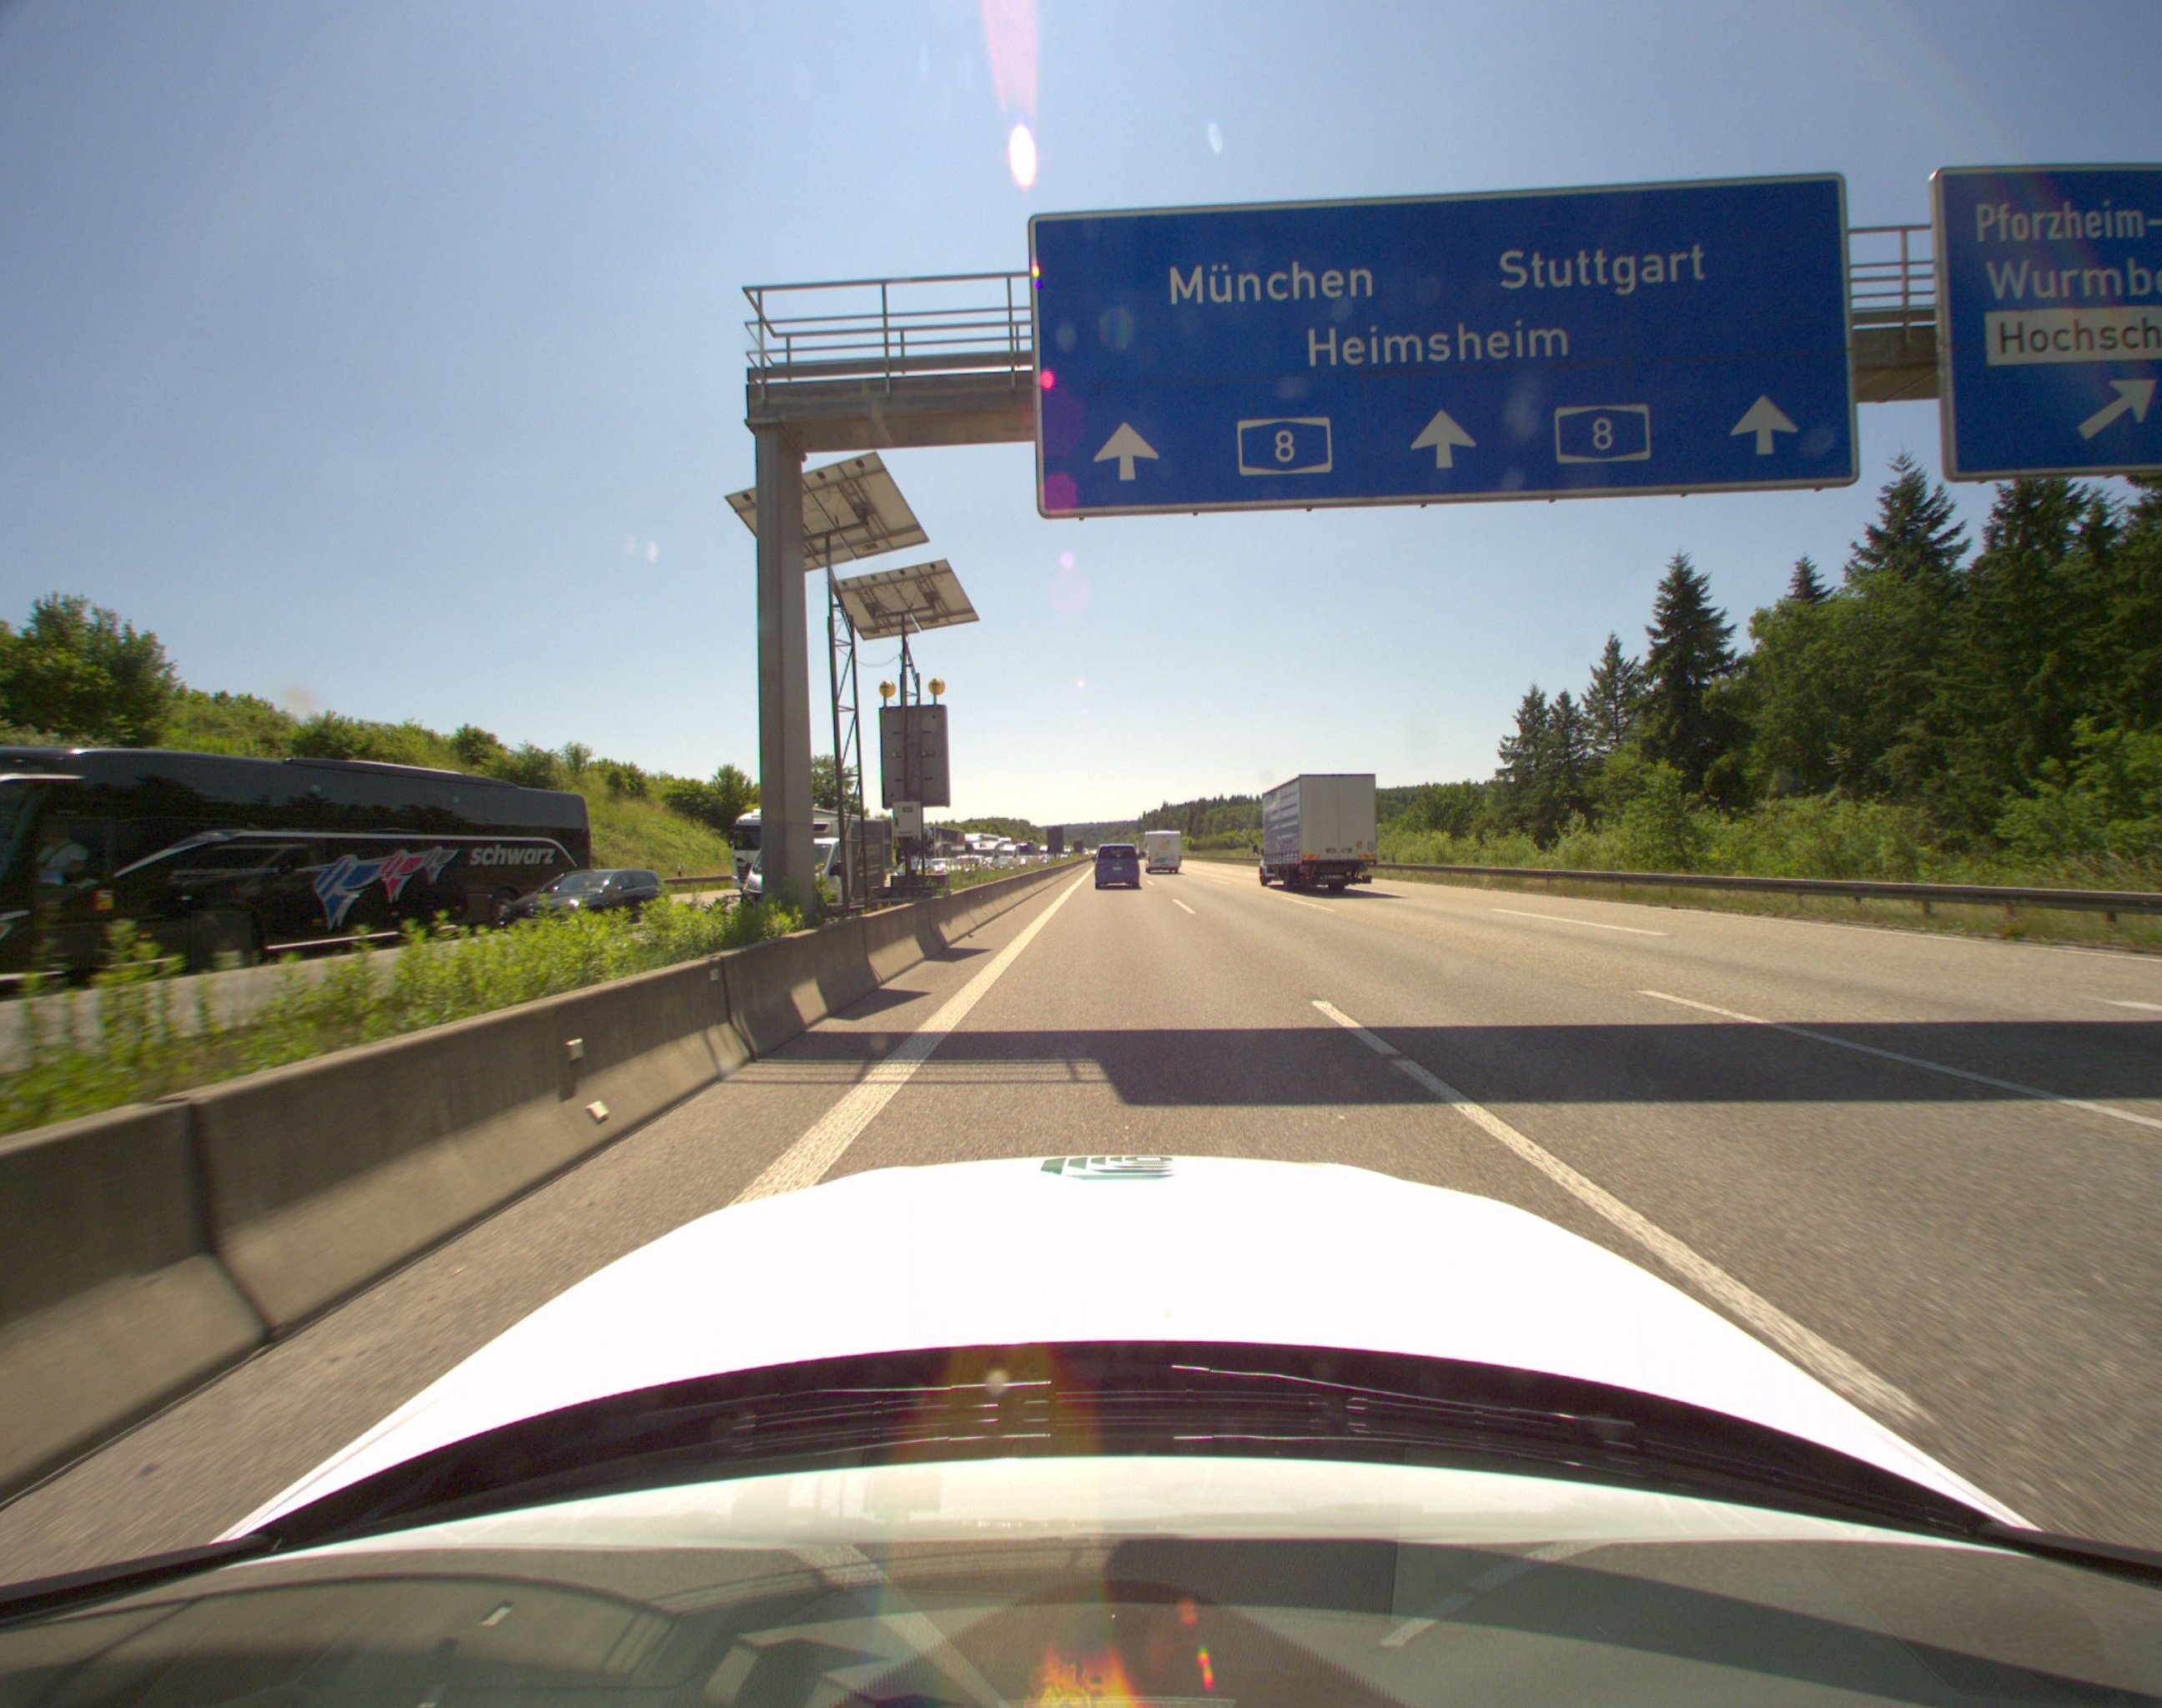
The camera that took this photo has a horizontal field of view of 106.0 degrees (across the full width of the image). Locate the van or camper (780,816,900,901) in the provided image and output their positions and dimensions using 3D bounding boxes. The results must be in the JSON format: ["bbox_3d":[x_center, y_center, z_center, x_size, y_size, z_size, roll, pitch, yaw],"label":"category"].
[{"bbox_3d":[-10.378,0.219,36.067,2.518,3.360,7.949,0,-1,3],"label":"van or camper"}]

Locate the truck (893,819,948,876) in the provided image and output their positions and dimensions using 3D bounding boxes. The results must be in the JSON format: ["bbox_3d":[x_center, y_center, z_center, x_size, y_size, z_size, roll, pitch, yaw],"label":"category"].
[{"bbox_3d":[-12.972,-0.451,66.482,2.771,4.305,7.032,-2,-1,2],"label":"truck"}]

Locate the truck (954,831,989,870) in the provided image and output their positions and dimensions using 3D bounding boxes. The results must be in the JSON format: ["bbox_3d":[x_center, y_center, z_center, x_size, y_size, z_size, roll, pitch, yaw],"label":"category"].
[{"bbox_3d":[-12.037,-0.327,90.157,2.790,4.128,6.144,0,-1,2],"label":"truck"}]

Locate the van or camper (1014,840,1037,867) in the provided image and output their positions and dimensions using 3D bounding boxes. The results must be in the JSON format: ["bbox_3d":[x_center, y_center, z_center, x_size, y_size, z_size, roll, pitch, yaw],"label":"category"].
[{"bbox_3d":[-7.464,0.003,109.714,2.304,3.390,7.682,-2,-1,1],"label":"van or camper"}]

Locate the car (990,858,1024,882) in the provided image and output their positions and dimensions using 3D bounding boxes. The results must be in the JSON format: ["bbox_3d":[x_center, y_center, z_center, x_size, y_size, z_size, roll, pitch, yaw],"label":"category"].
[{"bbox_3d":[-5.339,1.159,59.103,1.804,1.634,5.032,0,-1,2],"label":"car"}]

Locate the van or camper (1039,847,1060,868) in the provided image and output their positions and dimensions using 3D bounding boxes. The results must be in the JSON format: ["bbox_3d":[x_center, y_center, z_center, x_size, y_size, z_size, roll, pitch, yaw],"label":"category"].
[{"bbox_3d":[-3.957,0.470,104.205,2.185,2.541,6.418,-2,-1,1],"label":"van or camper"}]

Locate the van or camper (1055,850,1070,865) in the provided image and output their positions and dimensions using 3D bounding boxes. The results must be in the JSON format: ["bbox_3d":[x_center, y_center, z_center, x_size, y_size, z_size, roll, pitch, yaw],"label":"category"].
[{"bbox_3d":[-3.167,0.650,140.380,2.185,2.506,6.060,-2,-1,1],"label":"van or camper"}]

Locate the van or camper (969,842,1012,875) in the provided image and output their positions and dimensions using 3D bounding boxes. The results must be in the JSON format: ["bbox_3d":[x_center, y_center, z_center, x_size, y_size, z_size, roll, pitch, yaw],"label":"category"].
[{"bbox_3d":[-8.478,0.476,77.099,2.830,2.948,8.116,0,-1,2],"label":"van or camper"}]

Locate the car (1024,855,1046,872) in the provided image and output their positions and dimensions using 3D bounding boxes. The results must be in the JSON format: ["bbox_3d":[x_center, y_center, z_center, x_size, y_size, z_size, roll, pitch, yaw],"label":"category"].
[{"bbox_3d":[-4.718,0.966,83.507,1.804,1.730,4.975,0,-1,2],"label":"car"}]

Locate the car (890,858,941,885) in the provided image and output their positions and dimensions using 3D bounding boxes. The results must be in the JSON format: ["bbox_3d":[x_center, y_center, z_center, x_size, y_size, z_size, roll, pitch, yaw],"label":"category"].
[{"bbox_3d":[-9.671,1.003,47.920,1.804,1.537,4.831,0,-1,2],"label":"car"}]

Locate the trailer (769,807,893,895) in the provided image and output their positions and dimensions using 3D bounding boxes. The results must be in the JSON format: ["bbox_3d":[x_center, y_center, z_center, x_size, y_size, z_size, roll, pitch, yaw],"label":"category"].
[{"bbox_3d":[-13.859,-0.107,46.552,2.770,4.305,11.719,-2,-1,3],"label":"trailer"}]

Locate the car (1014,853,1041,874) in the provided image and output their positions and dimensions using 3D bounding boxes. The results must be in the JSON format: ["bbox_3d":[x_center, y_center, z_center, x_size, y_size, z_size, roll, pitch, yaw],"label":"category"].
[{"bbox_3d":[-4.781,0.815,73.122,1.804,1.809,5.545,0,-1,2],"label":"car"}]

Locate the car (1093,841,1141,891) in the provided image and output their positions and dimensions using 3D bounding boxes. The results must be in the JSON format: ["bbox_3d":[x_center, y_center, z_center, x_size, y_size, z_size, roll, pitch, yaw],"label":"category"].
[{"bbox_3d":[1.535,0.478,35.300,1.902,2.013,4.001,-1,1,1],"label":"car"}]

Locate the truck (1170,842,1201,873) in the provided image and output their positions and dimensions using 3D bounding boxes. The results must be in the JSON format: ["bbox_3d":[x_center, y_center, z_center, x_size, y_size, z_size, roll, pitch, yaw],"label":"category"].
[{"bbox_3d":[12.859,0.333,100.805,2.916,3.575,8.531,-2,0,2],"label":"truck"}]

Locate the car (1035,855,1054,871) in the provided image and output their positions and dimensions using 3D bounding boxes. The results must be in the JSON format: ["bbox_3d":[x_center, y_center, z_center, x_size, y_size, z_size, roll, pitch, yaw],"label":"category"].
[{"bbox_3d":[-4.166,1.060,93.796,1.804,1.730,4.937,0,-1,2],"label":"car"}]

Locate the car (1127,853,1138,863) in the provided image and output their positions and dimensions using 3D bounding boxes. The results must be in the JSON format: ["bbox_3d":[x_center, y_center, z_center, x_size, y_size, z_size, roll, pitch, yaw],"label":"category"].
[{"bbox_3d":[8.875,0.673,140.308,1.811,1.794,3.896,0,-1,2],"label":"car"}]

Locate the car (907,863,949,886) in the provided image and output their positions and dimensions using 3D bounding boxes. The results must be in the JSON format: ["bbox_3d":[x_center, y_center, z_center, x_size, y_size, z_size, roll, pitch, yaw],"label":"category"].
[{"bbox_3d":[-10.477,1.367,56.053,1.804,1.543,5.000,0,-1,2],"label":"car"}]

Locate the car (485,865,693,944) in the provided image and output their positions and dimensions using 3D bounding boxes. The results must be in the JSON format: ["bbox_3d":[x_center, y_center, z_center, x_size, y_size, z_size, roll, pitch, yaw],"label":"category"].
[{"bbox_3d":[-11.044,1.049,18.789,1.768,1.549,4.762,0,-1,2],"label":"car"}]

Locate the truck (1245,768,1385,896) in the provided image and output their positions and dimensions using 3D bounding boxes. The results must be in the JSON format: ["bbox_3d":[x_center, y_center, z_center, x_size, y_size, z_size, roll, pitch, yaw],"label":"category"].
[{"bbox_3d":[8.560,-0.664,31.267,2.773,4.128,9.742,0,-1,1],"label":"truck"}]

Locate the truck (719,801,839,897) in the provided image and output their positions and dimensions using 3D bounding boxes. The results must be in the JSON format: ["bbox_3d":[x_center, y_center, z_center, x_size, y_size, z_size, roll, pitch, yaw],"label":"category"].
[{"bbox_3d":[-14.256,-0.174,39.106,2.770,4.114,7.034,-2,-1,3],"label":"truck"}]

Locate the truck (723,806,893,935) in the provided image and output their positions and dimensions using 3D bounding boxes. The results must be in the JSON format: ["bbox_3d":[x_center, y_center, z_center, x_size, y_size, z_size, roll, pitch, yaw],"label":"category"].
[{"bbox_3d":[-6.782,0.399,21.193,2.112,2.842,6.215,0,-1,2],"label":"truck"}]

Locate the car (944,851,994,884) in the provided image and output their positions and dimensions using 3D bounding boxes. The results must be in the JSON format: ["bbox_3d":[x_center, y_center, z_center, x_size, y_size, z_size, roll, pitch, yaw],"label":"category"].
[{"bbox_3d":[-5.884,0.708,43.384,1.804,1.634,5.032,0,-1,2],"label":"car"}]

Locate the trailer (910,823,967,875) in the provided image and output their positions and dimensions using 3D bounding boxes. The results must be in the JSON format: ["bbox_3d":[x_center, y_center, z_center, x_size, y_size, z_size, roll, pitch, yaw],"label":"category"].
[{"bbox_3d":[-12.682,-0.393,73.638,2.779,4.240,10.797,-2,-1,2],"label":"trailer"}]

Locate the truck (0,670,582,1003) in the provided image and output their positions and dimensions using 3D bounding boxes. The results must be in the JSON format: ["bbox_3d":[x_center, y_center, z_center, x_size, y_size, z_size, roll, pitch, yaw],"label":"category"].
[{"bbox_3d":[-15.040,-0.158,16.023,3.044,4.222,11.491,0,-1,2],"label":"truck"}]

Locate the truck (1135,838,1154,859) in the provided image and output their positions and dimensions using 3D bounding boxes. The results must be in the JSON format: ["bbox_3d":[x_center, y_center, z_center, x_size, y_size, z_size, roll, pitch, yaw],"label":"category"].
[{"bbox_3d":[13.052,-1.149,168.654,3.474,4.170,8.645,0,-1,2],"label":"truck"}]

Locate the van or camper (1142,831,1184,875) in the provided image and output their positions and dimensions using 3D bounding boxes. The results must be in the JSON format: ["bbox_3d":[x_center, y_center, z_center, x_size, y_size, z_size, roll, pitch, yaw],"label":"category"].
[{"bbox_3d":[5.920,-0.133,59.967,2.593,3.078,7.186,0,1,2],"label":"van or camper"}]

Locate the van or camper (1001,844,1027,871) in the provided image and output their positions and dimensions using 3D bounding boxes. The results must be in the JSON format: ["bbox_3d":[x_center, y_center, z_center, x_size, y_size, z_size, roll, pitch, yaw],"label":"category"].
[{"bbox_3d":[-7.695,0.442,93.992,2.142,2.923,7.227,0,-1,2],"label":"van or camper"}]

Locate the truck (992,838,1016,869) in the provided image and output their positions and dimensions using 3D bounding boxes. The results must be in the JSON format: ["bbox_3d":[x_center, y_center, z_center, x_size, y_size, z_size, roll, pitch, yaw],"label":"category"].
[{"bbox_3d":[-11.119,0.013,118.415,2.580,4.326,7.294,0,-1,1],"label":"truck"}]
